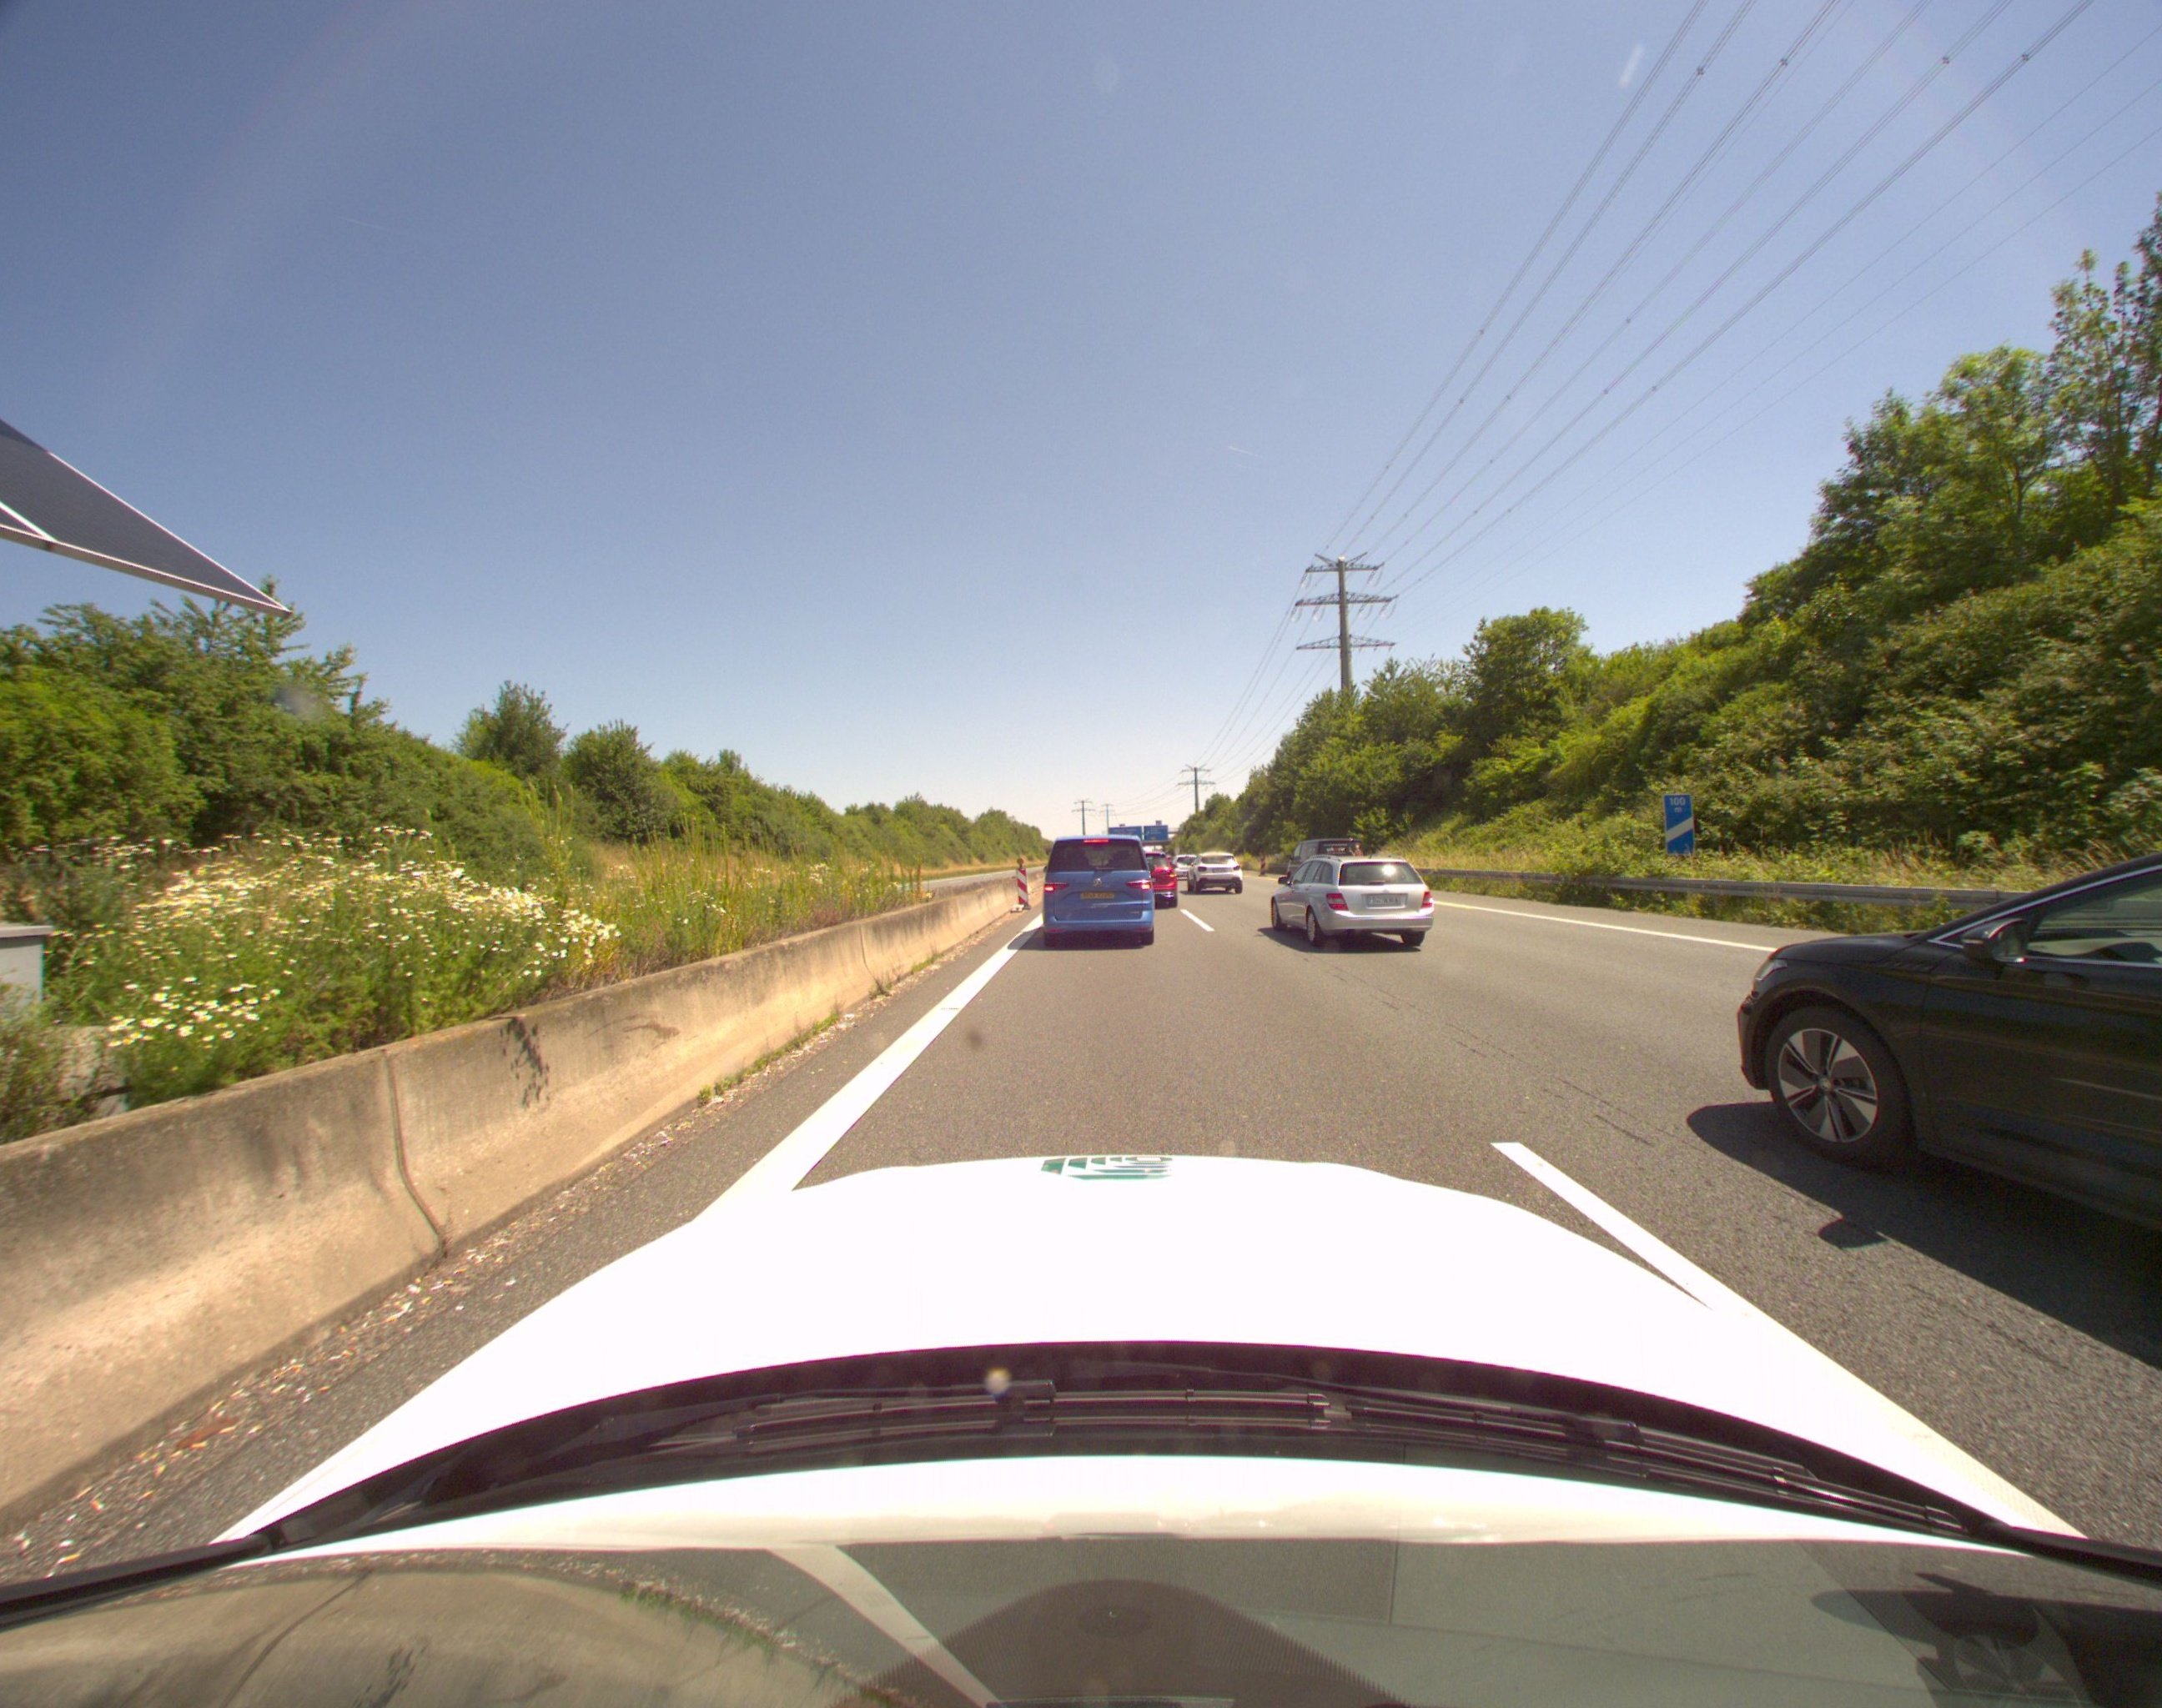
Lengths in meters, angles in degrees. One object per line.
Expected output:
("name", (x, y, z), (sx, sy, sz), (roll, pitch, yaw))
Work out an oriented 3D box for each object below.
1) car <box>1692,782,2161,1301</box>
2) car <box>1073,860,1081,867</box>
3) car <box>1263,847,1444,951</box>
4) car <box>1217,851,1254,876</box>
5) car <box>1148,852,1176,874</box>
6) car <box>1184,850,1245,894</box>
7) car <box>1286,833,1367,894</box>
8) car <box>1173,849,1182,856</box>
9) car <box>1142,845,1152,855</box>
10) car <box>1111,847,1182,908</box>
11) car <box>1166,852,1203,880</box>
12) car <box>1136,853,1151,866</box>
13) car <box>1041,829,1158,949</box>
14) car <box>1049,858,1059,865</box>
("car", (4.285, 0.591, 2.404), (1.695, 1.655, 4.430), (0, 0, 1))
("car", (-1.118, 2.482, 218.107), (1.986, 1.662, 4.231), (-3, 0, 2))
("car", (4.491, 0.678, 14.145), (1.764, 1.517, 4.360), (0, 0, 1))
("car", (10.247, 0.617, 54.176), (1.791, 1.594, 4.228), (0, 0, 2))
("car", (6.042, 0.685, 61.010), (1.791, 1.594, 4.228), (0, 0, 2))
("car", (5.124, 0.658, 31.765), (1.791, 1.594, 4.228), (0, 0, 2))
("car", (8.622, 0.332, 28.973), (1.790, 2.014, 4.230), (0, 0, 3))
("car", (25.280, -0.357, 213.283), (1.868, 1.671, 4.360), (0, 0, 1))
("car", (16.399, -0.990, 203.275), (2.368, 2.428, 4.228), (0, 0, 2))
("car", (1.869, 0.660, 24.458), (1.868, 1.671, 4.360), (0, 0, 1))
("car", (6.086, 0.676, 48.196), (1.791, 1.594, 4.228), (0, 0, 2))
("car", (7.785, 0.653, 101.803), (1.791, 1.594, 4.228), (0, 0, 2))
("car", (0.346, 0.576, 15.254), (1.868, 1.912, 4.360), (0, 0, 1))
("car", (-6.984, 2.030, 210.956), (1.986, 1.650, 4.632), (-4, 0, 2))
